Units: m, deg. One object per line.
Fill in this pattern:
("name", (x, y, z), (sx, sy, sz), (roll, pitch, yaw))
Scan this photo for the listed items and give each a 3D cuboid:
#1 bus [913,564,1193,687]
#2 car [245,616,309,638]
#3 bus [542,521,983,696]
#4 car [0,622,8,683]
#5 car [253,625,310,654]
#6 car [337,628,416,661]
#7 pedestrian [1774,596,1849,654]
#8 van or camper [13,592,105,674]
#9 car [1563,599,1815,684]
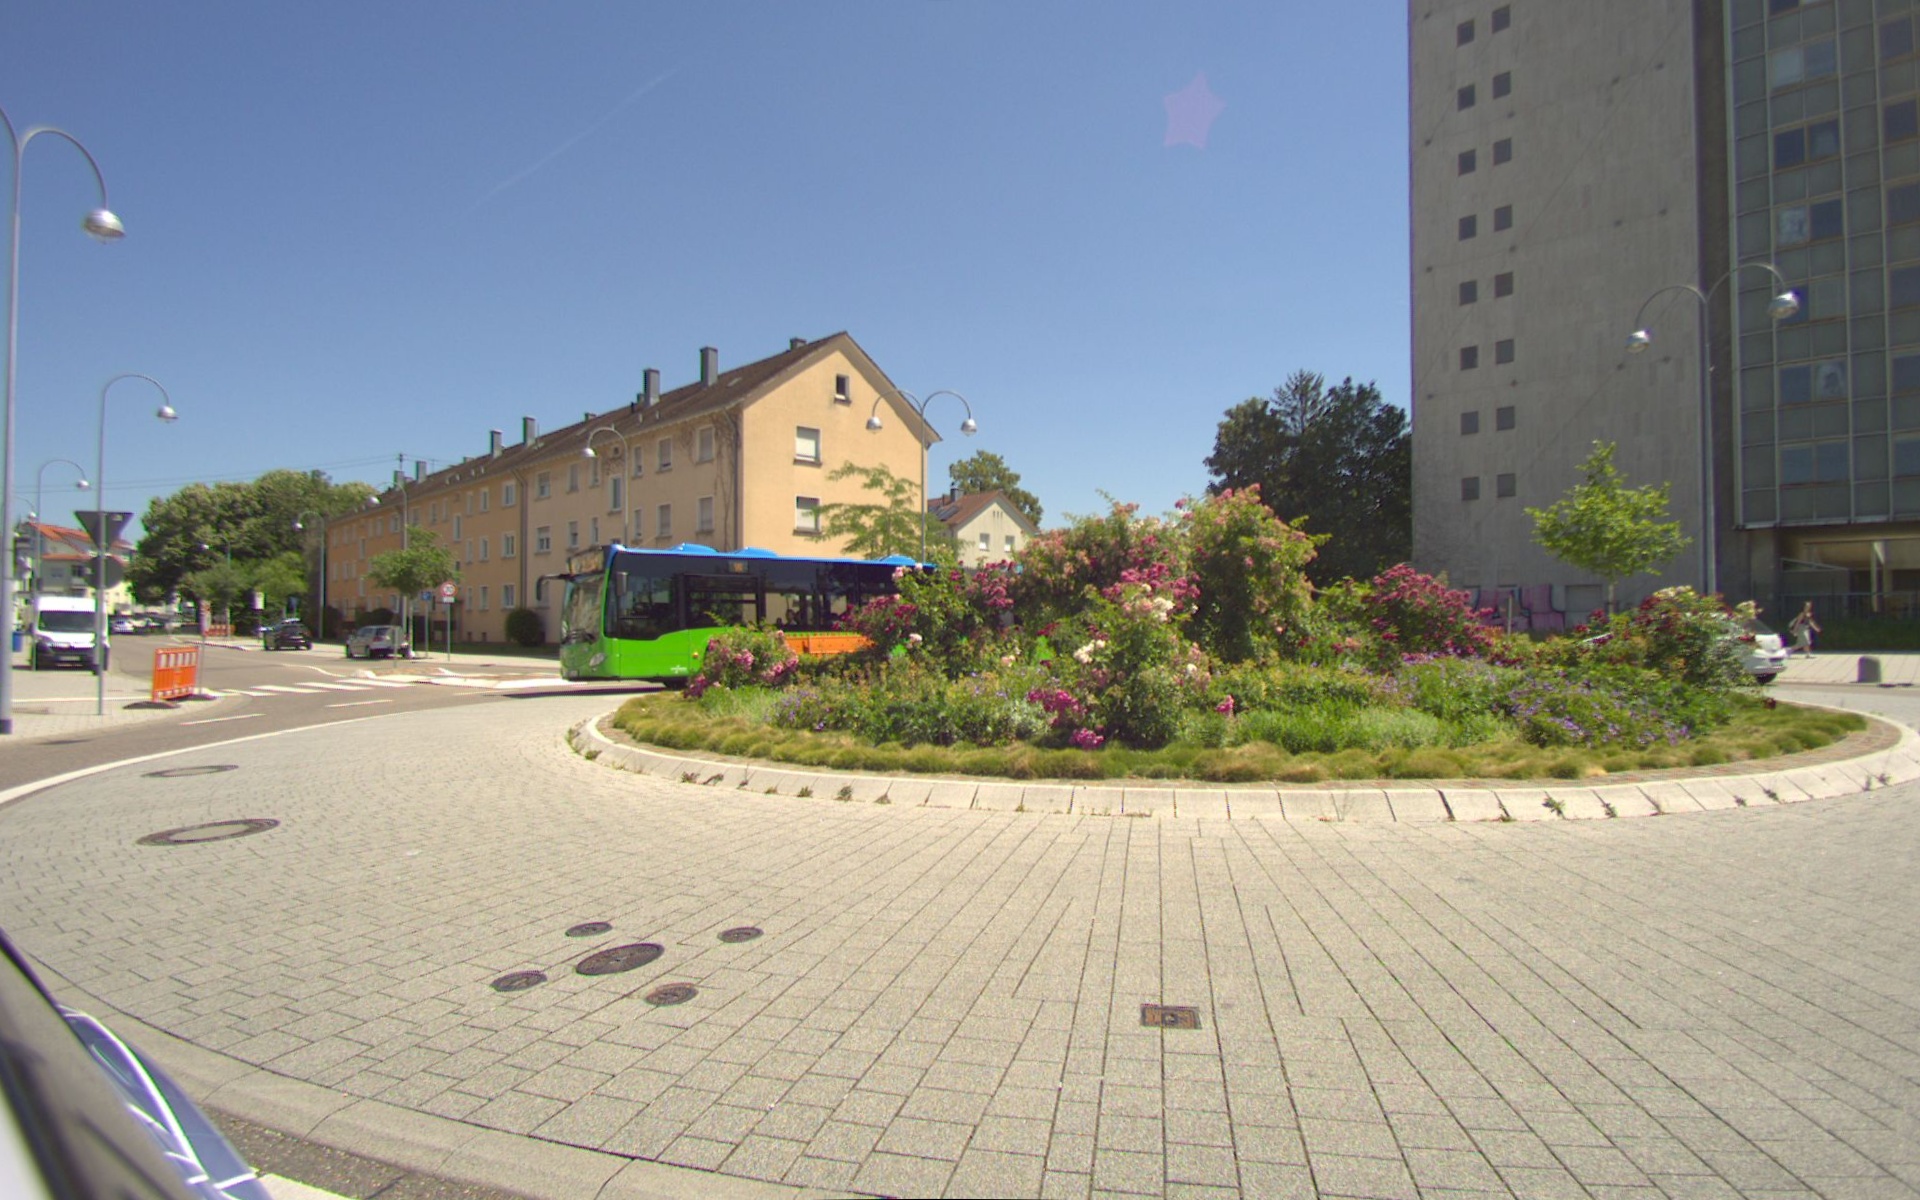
("bus", (2.999, 0.655, 29.838), (8.784, 3.134, 2.834), (-1, -2, -41))
("car", (-60.681, 2.404, 90.007), (1.815, 1.888, 4.384), (-1, -2, 35))
("bus", (-4.189, 0.309, 23.657), (9.924, 3.350, 2.969), (1, -4, -40))
("car", (-26.214, 1.364, 26.489), (1.652, 1.632, 4.369), (4, -4, -41))
("car", (-38.867, 2.237, 57.918), (4.564, 1.518, 1.836), (-2, -1, 45))
("car", (-26.796, 2.005, 46.459), (4.087, 1.431, 1.972), (-2, -2, 42))
("pedestrian", (23.911, 0.696, 28.436), (0.932, 1.597, 1.286), (0, -2, -25))
("van or camper", (-31.363, 1.158, 35.208), (2.139, 2.608, 5.772), (3, -3, -42))
("car", (15.278, 0.837, 21.435), (1.760, 1.609, 3.932), (0, -1, -30))
